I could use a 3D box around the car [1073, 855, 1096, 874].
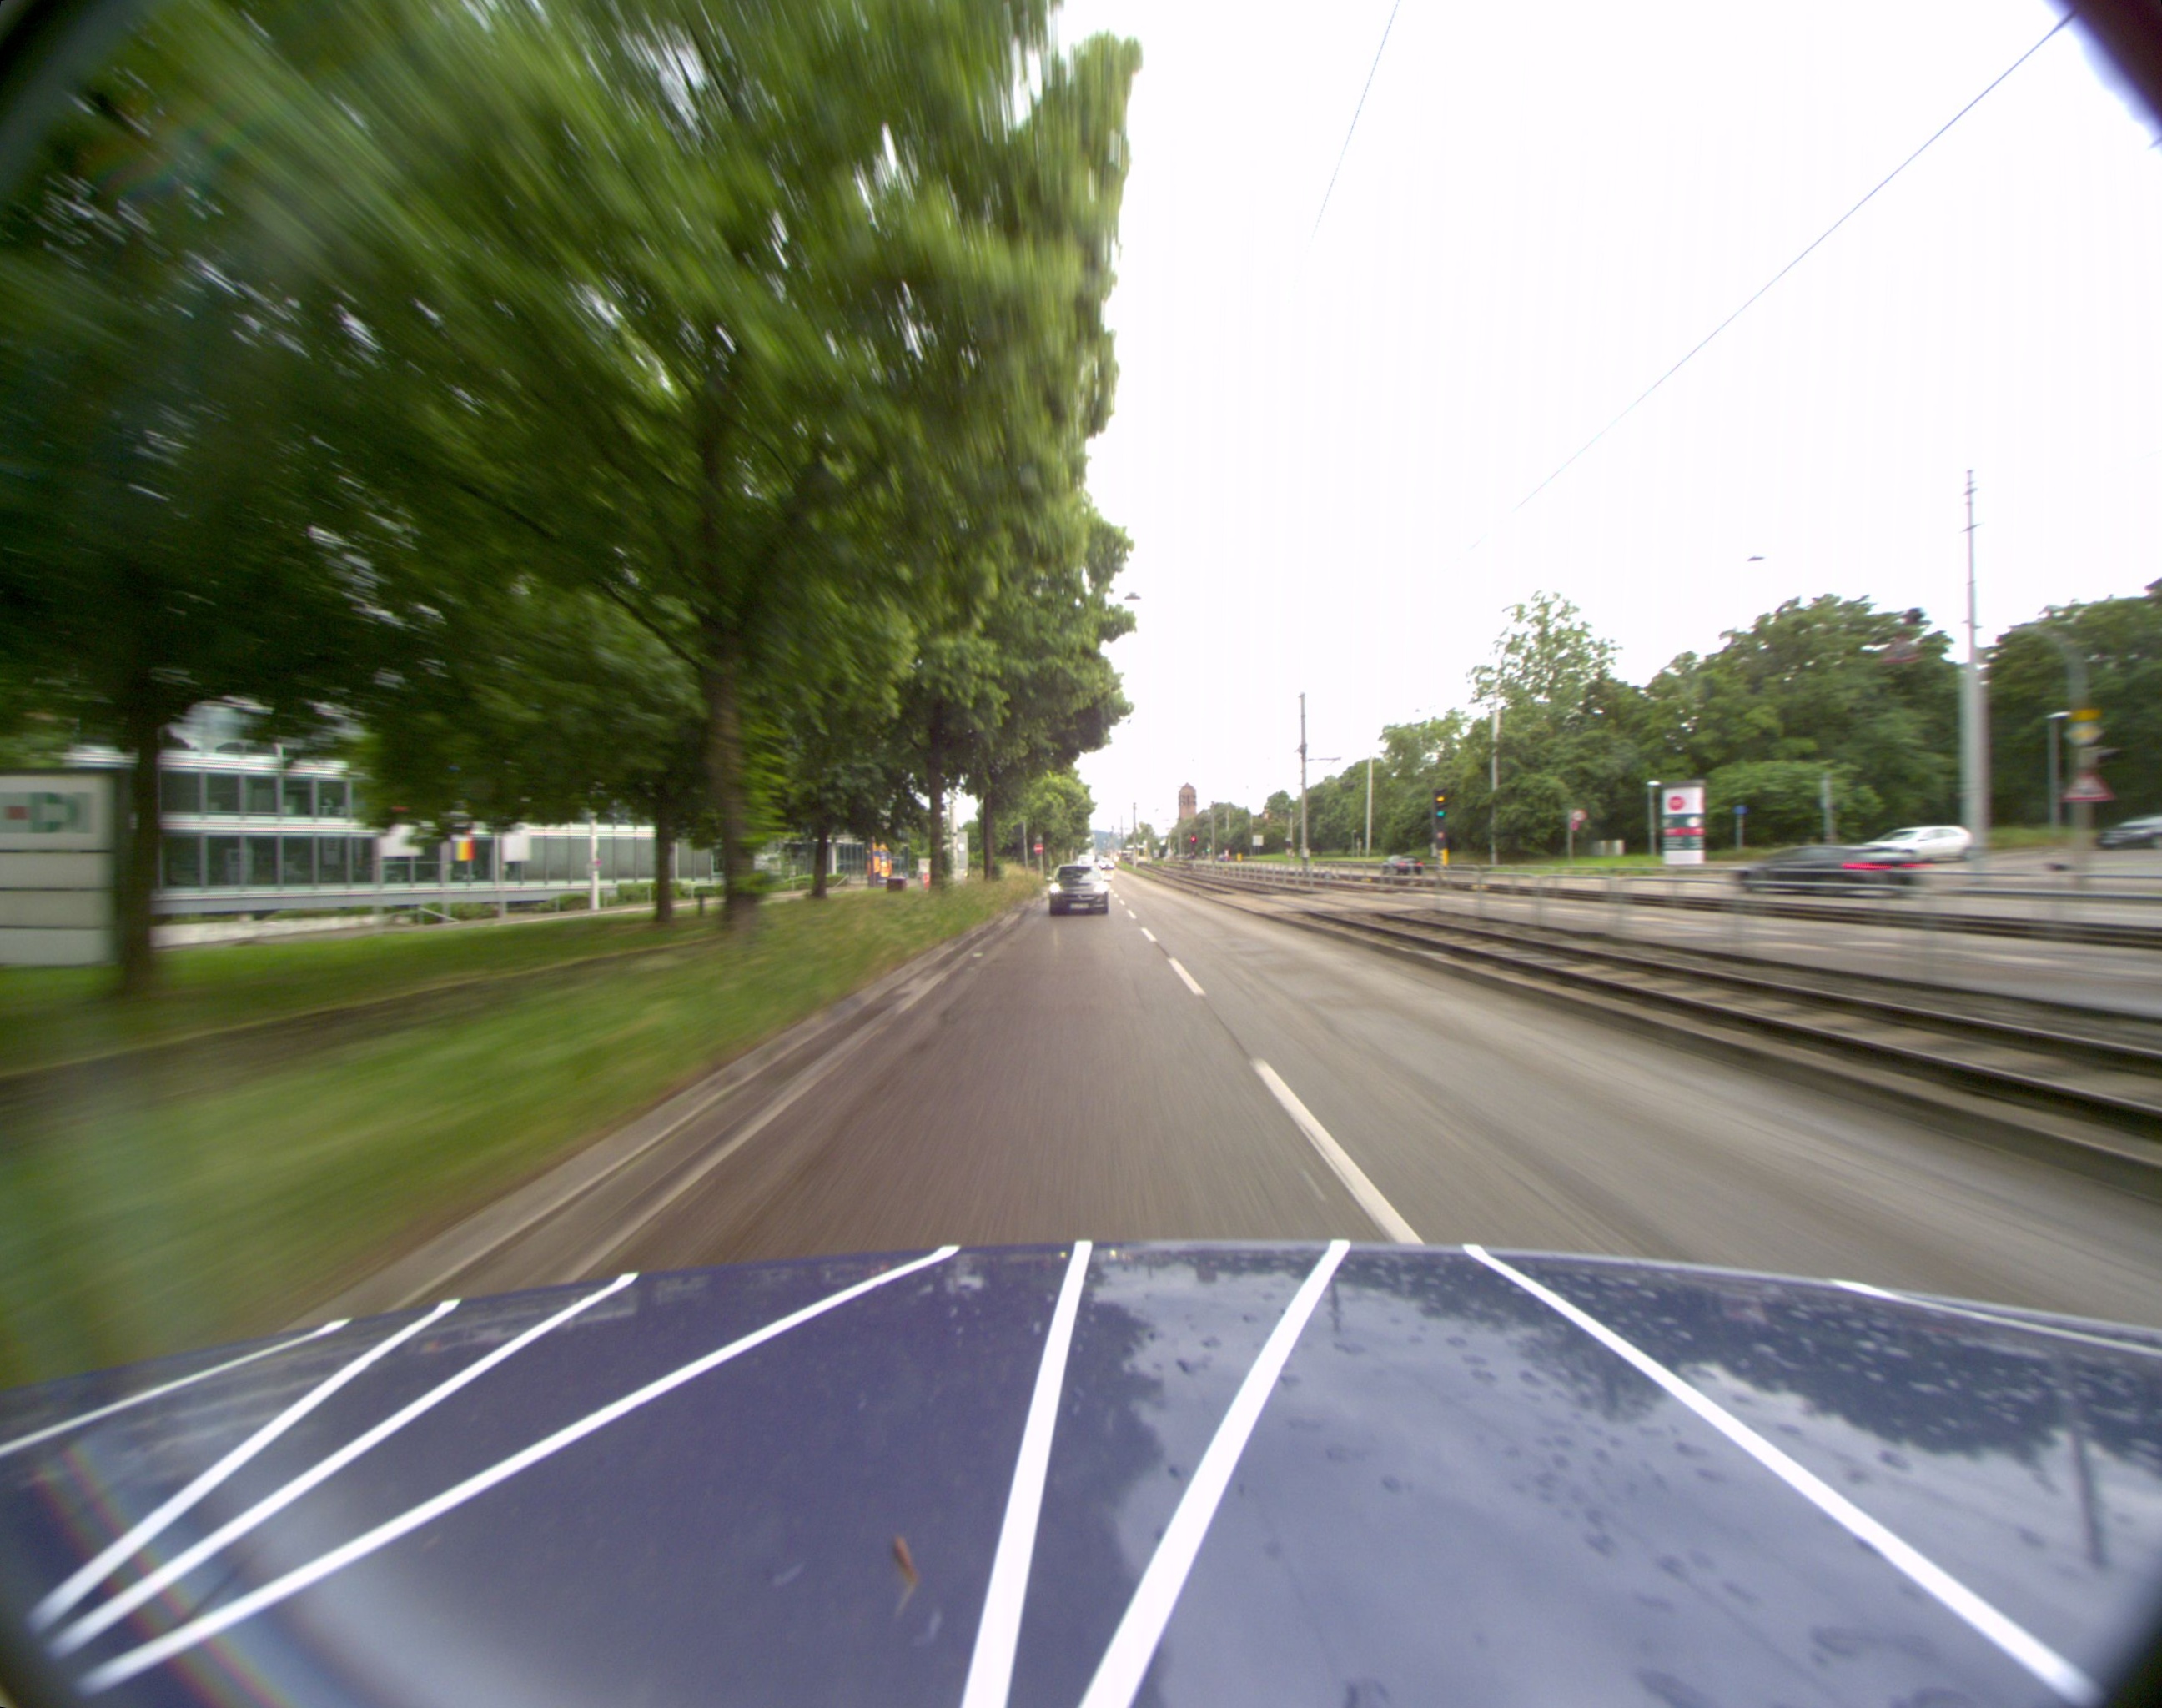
[{"bbox_3d":[0.319,0.962,70.191,1.998,1.608,4.000,-1,0,1],"label":"car"}]

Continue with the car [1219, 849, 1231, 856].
[{"bbox_3d":[27.825,-0.345,146.579,1.765,1.389,3.901,-1,0,3],"label":"car"}]

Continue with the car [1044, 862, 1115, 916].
[{"bbox_3d":[-0.004,1.001,23.173,1.899,1.432,4.474,-2,0,1],"label":"car"}]

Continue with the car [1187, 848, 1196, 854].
[{"bbox_3d":[27.929,-0.779,191.929,1.952,1.586,4.848,-1,0,3],"label":"car"}]

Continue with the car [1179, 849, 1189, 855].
[{"bbox_3d":[24.989,-0.422,184.398,1.895,1.478,4.309,-1,0,3],"label":"car"}]

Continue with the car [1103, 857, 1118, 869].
[{"bbox_3d":[3.824,1.207,99.626,1.899,1.432,4.246,-2,0,1],"label":"car"}]

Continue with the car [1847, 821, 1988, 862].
[{"bbox_3d":[35.642,-0.528,32.464,3.929,1.444,1.925,-4,1,-1],"label":"car"}]

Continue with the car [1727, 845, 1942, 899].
[{"bbox_3d":[20.732,0.440,21.211,1.802,1.339,4.259,-1,0,1],"label":"car"}]

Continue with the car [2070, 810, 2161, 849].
[{"bbox_3d":[45.355,-1.078,32.360,4.085,1.444,1.872,-4,1,-1],"label":"car"}]

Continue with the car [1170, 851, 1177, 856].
[{"bbox_3d":[29.285,-0.122,240.613,1.931,1.438,4.682,-1,0,1],"label":"car"}]

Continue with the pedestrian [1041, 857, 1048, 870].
[{"bbox_3d":[-5.012,1.337,105.057,0.828,1.787,0.867,-2,1,1],"label":"pedestrian"}]

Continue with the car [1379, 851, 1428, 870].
[{"bbox_3d":[22.189,0.396,52.488,1.761,1.237,3.988,-1,0,1],"label":"car"}]
